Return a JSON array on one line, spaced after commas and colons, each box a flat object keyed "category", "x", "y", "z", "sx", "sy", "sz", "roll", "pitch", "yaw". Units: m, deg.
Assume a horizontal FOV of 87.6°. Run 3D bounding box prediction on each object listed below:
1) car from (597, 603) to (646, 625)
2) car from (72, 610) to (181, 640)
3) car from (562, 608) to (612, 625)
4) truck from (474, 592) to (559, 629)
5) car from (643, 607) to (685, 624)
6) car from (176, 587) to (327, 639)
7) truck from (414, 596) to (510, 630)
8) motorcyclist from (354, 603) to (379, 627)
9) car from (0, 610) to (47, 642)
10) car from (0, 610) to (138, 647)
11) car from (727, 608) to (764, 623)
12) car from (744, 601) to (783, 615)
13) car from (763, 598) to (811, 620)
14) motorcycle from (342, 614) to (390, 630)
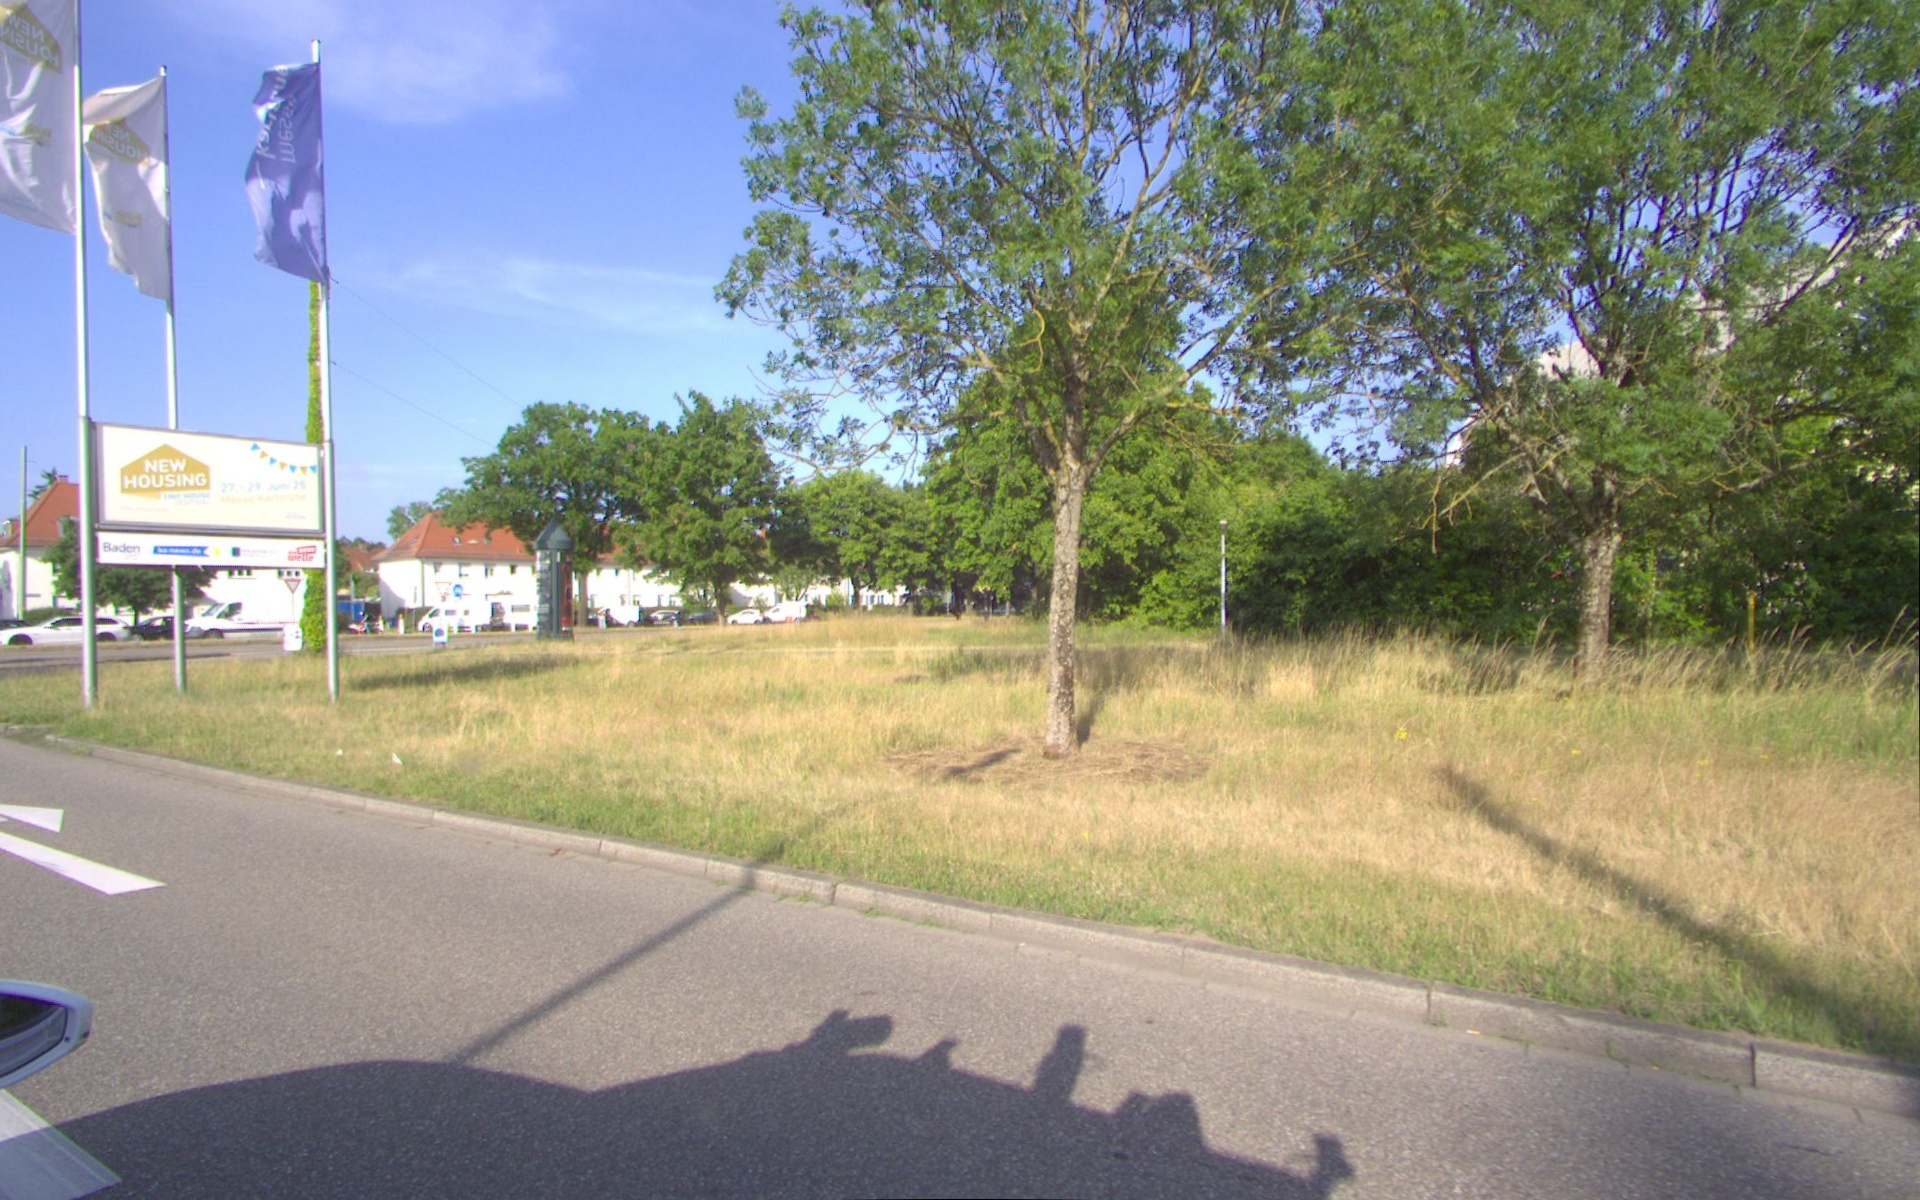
[{"category": "car", "x": -30.467, "y": 1.226, "z": 90.229, "sx": 3.835, "sy": 1.945, "sz": 1.895, "roll": -1, "pitch": 0, "yaw": -10}, {"category": "car", "x": -42.443, "y": 1.245, "z": 51.048, "sx": 1.694, "sy": 1.472, "sz": 3.973, "roll": 0, "pitch": 0, "yaw": 37}, {"category": "car", "x": -32.607, "y": 1.440, "z": 87.535, "sx": 3.837, "sy": 1.475, "sz": 1.894, "roll": -1, "pitch": 0, "yaw": -13}, {"category": "truck", "x": -36.230, "y": 0.837, "z": 81.946, "sx": 5.964, "sy": 2.892, "sz": 1.894, "roll": -1, "pitch": 0, "yaw": -10}, {"category": "car", "x": -27.466, "y": 1.404, "z": 92.925, "sx": 3.432, "sy": 1.534, "sz": 1.895, "roll": -1, "pitch": 0, "yaw": -6}, {"category": "car", "x": -37.102, "y": 0.666, "z": 52.631, "sx": 1.974, "sy": 2.617, "sz": 6.187, "roll": 0, "pitch": 0, "yaw": 36}, {"category": "truck", "x": -38.219, "y": 1.011, "z": 76.909, "sx": 6.233, "sy": 2.557, "sz": 2.277, "roll": 0, "pitch": 0, "yaw": 1}, {"category": "motorcyclist", "x": -33.412, "y": 0.839, "z": 56.372, "sx": 0.671, "sy": 1.370, "sz": 1.062, "roll": 0, "pitch": 0, "yaw": 35}, {"category": "car", "x": -45.777, "y": 1.224, "z": 46.449, "sx": 1.694, "sy": 1.430, "sz": 4.807, "roll": 0, "pitch": 0, "yaw": 37}, {"category": "car", "x": -41.536, "y": 1.276, "z": 46.394, "sx": 1.816, "sy": 1.583, "sz": 5.077, "roll": 0, "pitch": 0, "yaw": 37}, {"category": "car", "x": -21.628, "y": 1.545, "z": 101.073, "sx": 3.367, "sy": 1.534, "sz": 1.895, "roll": -1, "pitch": 0, "yaw": -6}, {"category": "car", "x": -24.377, "y": 0.981, "z": 124.363, "sx": 4.914, "sy": 1.742, "sz": 1.987, "roll": -1, "pitch": 0, "yaw": 36}, {"category": "car", "x": -18.349, "y": 0.973, "z": 106.083, "sx": 4.886, "sy": 2.261, "sz": 1.998, "roll": -1, "pitch": 0, "yaw": -11}, {"category": "motorcycle", "x": -33.411, "y": 1.234, "z": 56.382, "sx": 0.681, "sy": 0.878, "sz": 2.264, "roll": 0, "pitch": 0, "yaw": 35}]
